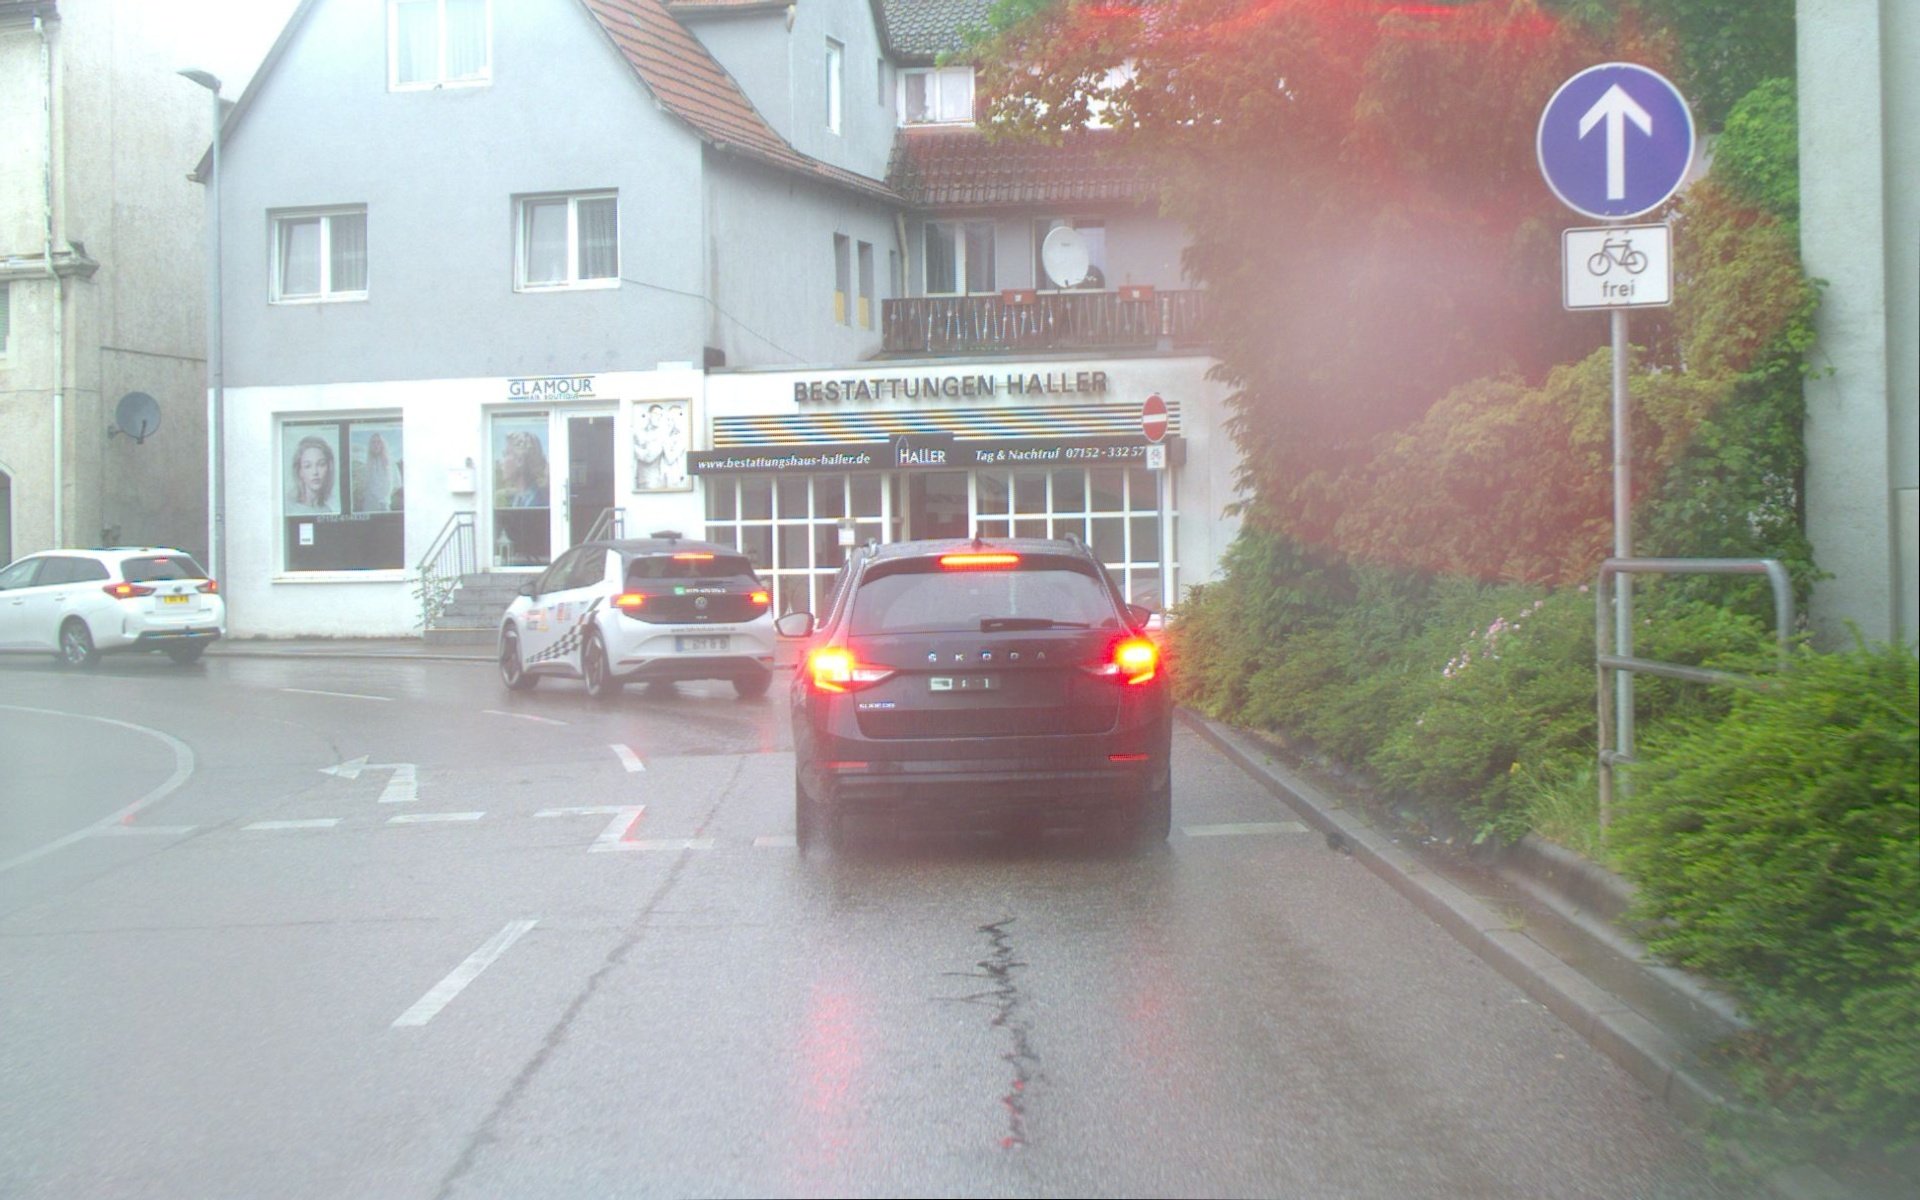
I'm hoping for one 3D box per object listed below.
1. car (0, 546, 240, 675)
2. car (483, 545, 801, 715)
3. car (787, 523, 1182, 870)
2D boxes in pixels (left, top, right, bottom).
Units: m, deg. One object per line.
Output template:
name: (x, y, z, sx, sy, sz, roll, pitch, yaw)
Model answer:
car: (-11.015, 0.095, 43.214, 4.161, 1.460, 1.787, 2, 3, 44)
car: (-3.249, 0.243, 34.370, 1.788, 1.512, 4.242, -3, 2, -25)
car: (0.023, 0.382, 17.399, 1.732, 1.445, 4.242, -1, 2, -2)
